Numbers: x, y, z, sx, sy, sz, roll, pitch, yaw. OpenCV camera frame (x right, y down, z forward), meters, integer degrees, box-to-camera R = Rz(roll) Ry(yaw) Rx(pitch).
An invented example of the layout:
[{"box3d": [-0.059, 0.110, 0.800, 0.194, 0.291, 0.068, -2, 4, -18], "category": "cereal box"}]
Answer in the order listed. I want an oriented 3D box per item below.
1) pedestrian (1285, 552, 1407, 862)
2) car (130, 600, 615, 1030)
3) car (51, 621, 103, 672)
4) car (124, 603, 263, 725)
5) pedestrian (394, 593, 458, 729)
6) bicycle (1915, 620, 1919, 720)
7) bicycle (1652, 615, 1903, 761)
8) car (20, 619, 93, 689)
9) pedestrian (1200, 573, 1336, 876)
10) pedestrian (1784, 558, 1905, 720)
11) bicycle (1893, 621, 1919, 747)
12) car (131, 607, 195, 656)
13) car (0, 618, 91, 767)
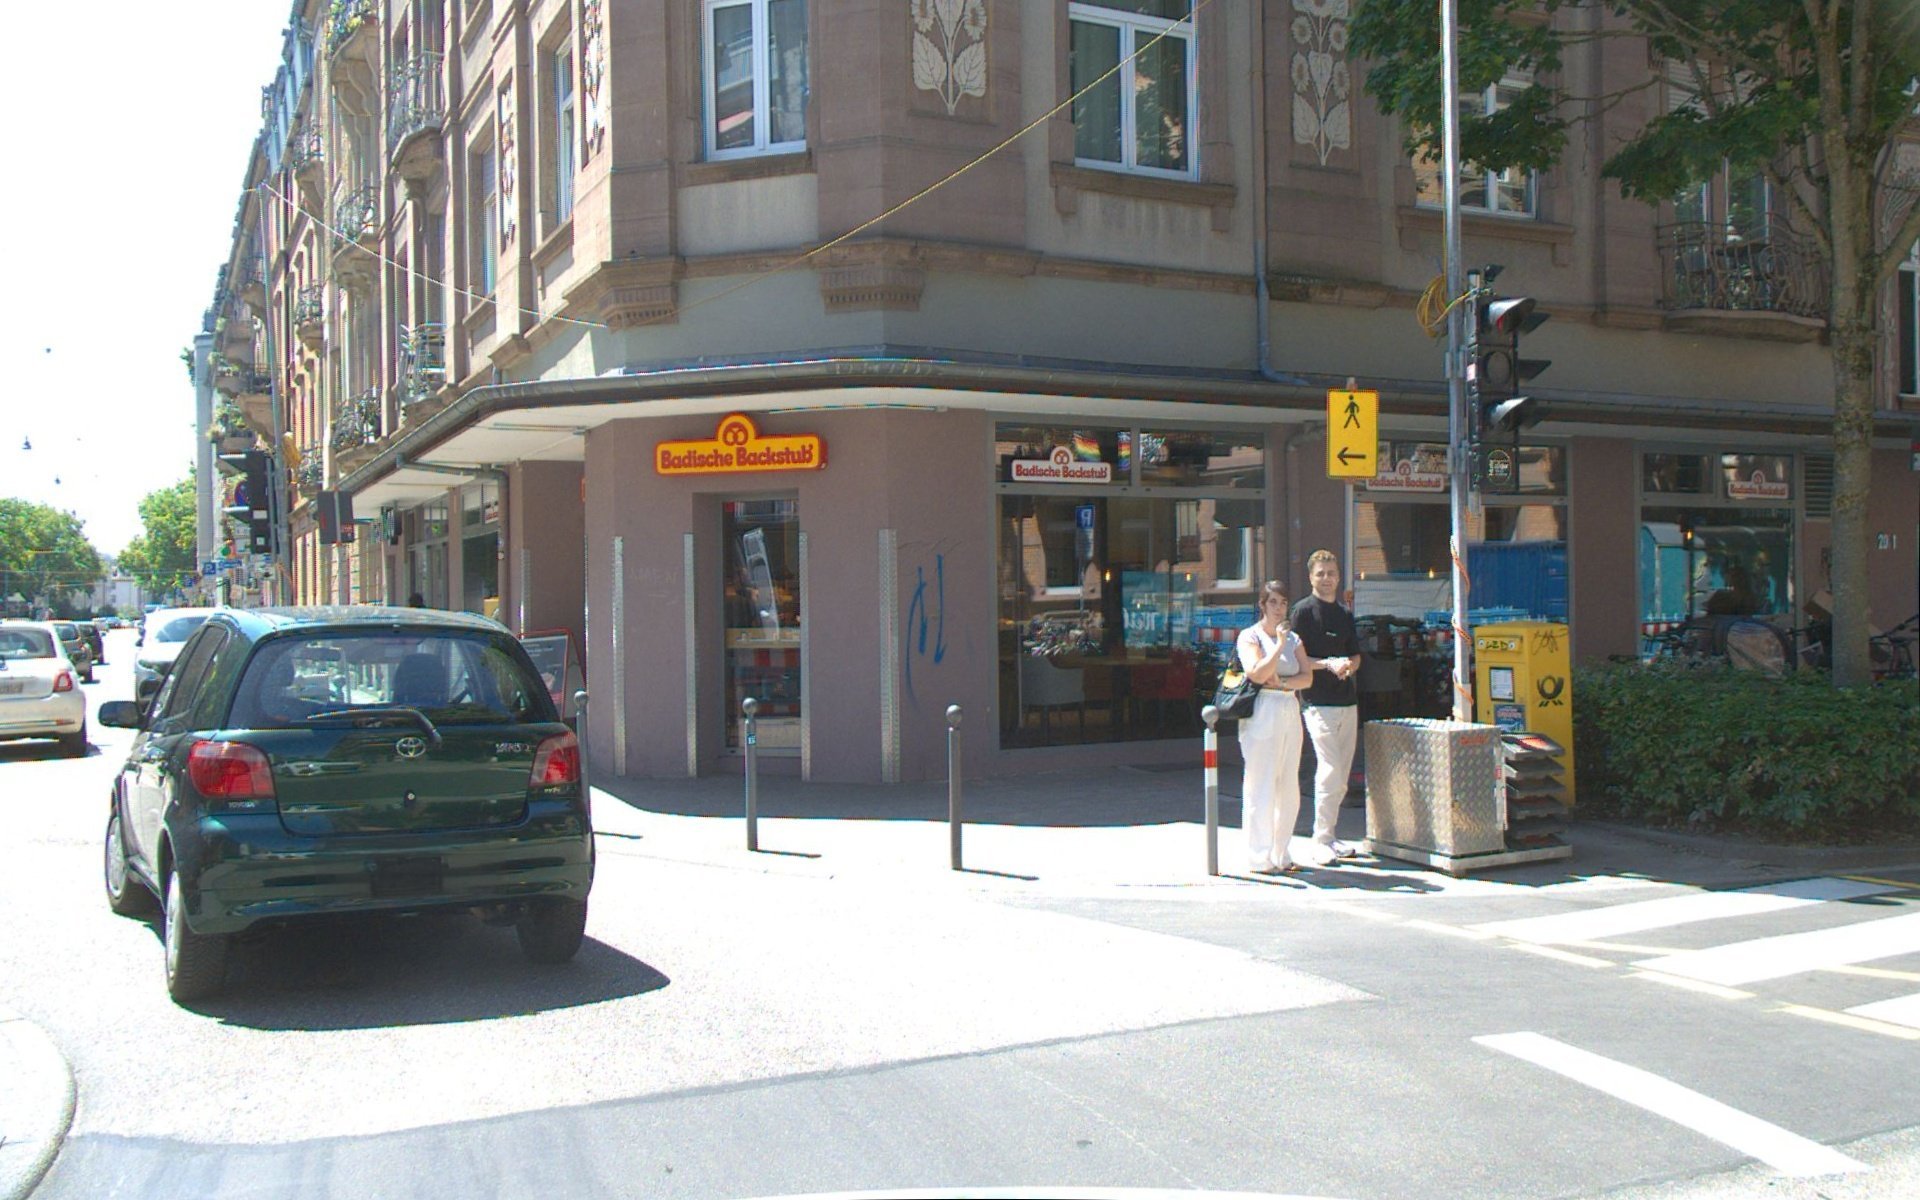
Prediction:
[{"box3d": [2.347, 0.620, 10.048, 0.570, 1.799, 0.466, -3, 4, -35], "category": "pedestrian"}, {"box3d": [-2.853, 0.779, 7.624, 1.596, 1.511, 3.208, 0, -1, -29], "category": "car"}, {"box3d": [-30.020, 1.554, 56.295, 1.505, 1.620, 3.233, -1, 0, -28], "category": "car"}, {"box3d": [-12.584, 0.986, 27.096, 1.849, 1.743, 4.466, -3, 0, -26], "category": "car"}, {"box3d": [-6.674, 0.750, 20.660, 0.633, 1.652, 0.797, -1, 0, -27], "category": "pedestrian"}, {"box3d": [10.574, 0.706, 17.047, 1.706, 1.014, 0.499, -1, 2, -31], "category": "bicycle"}, {"box3d": [6.856, 0.722, 13.891, 1.944, 1.152, 0.515, -1, 0, -10], "category": "bicycle"}, {"box3d": [-22.258, 1.298, 40.802, 1.505, 1.620, 3.233, -1, 0, -28], "category": "car"}, {"box3d": [1.805, 0.698, 9.672, 0.696, 1.673, 0.418, -3, 4, -35], "category": "pedestrian"}, {"box3d": [9.392, 0.397, 17.569, 0.846, 1.662, 0.780, -1, 0, -28], "category": "pedestrian"}, {"box3d": [9.216, 0.737, 15.049, 1.742, 1.099, 0.466, -1, 2, -31], "category": "bicycle"}, {"box3d": [-25.137, 0.985, 52.155, 1.733, 1.454, 3.966, -2, 0, -26], "category": "car"}, {"box3d": [-10.857, 1.005, 19.006, 1.505, 1.547, 3.233, -1, 0, -29], "category": "car"}]
